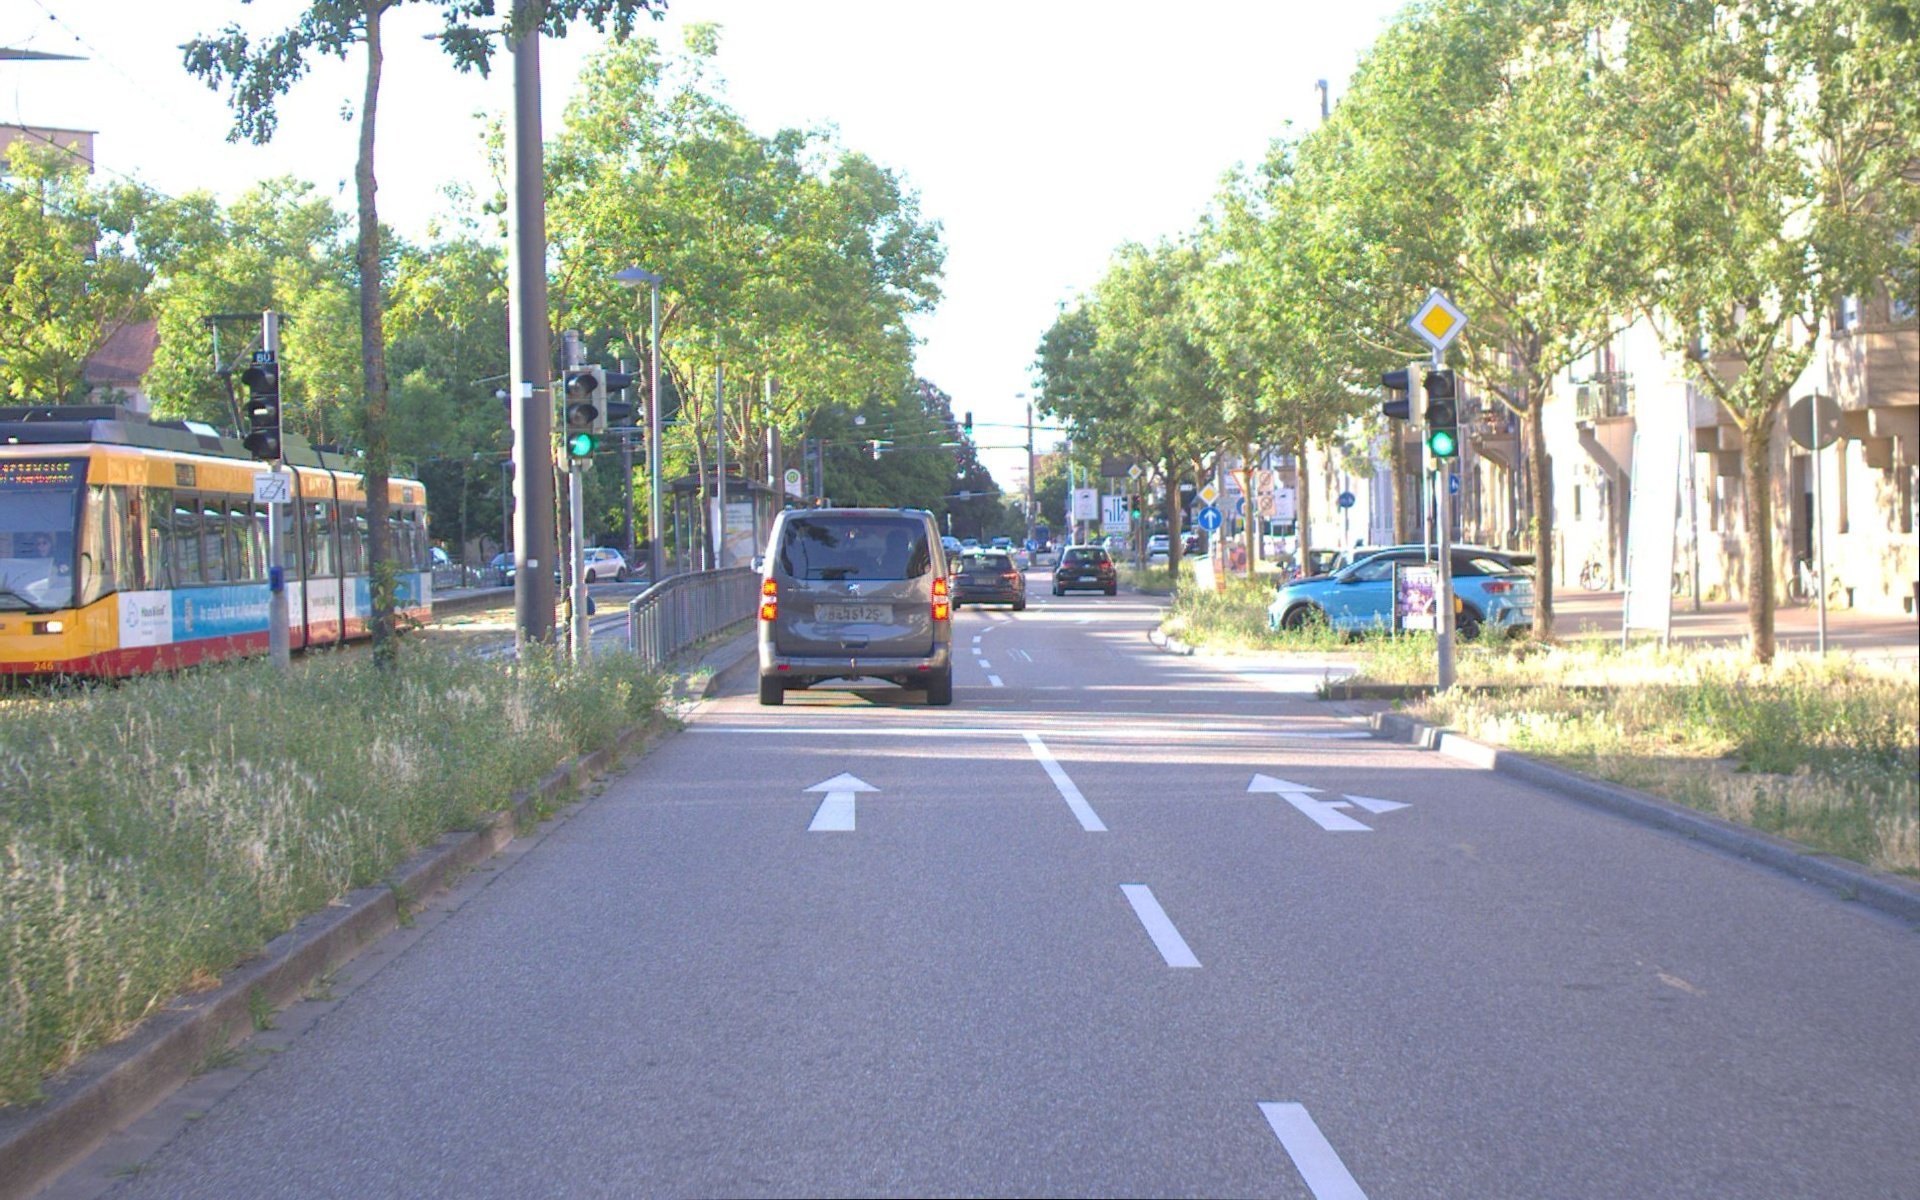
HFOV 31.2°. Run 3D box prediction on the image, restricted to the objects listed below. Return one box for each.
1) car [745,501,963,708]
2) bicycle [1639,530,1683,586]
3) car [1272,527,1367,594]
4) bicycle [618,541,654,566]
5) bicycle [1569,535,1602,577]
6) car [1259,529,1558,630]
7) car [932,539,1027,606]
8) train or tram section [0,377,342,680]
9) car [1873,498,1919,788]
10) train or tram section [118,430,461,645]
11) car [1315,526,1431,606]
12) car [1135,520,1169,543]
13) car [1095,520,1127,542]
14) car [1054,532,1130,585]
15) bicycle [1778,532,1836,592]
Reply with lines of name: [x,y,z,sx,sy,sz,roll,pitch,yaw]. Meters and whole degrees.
car: [-0.984,-0.001,34.011,1.993,1.894,4.299,1,1,0]
bicycle: [15.585,-0.940,76.455,0.483,1.161,1.746,-6,1,0]
car: [8.262,-0.935,79.330,1.704,1.443,4.289,2,1,0]
bicycle: [-15.647,-2.257,166.090,1.717,1.138,0.559,-2,2,-42]
bicycle: [15.451,-1.094,84.978,0.483,1.002,1.746,-1,1,0]
car: [7.061,-0.335,54.238,4.281,1.516,1.844,0,1,32]
car: [0.425,-0.667,80.624,1.993,1.505,4.001,0,1,-3]
train or tram section: [-11.386,-0.921,46.498,3.431,3.418,15.029,-1,1,0]
car: [7.703,0.227,19.623,4.427,1.685,1.912,0,2,35]
train or tram section: [-11.533,-1.106,60.936,3.431,3.328,13.858,-1,1,0]
car: [8.354,-0.716,69.867,1.725,1.507,4.273,2,1,-1]
car: [14.152,-5.074,253.709,1.993,1.651,4.300,-1,1,-3]
car: [11.366,-5.189,258.823,1.993,1.651,4.300,-1,1,-3]
car: [3.835,-1.232,100.407,1.993,1.505,4.000,0,1,-1]
bicycle: [15.803,-0.721,64.163,0.572,1.069,1.897,-2,1,-1]
